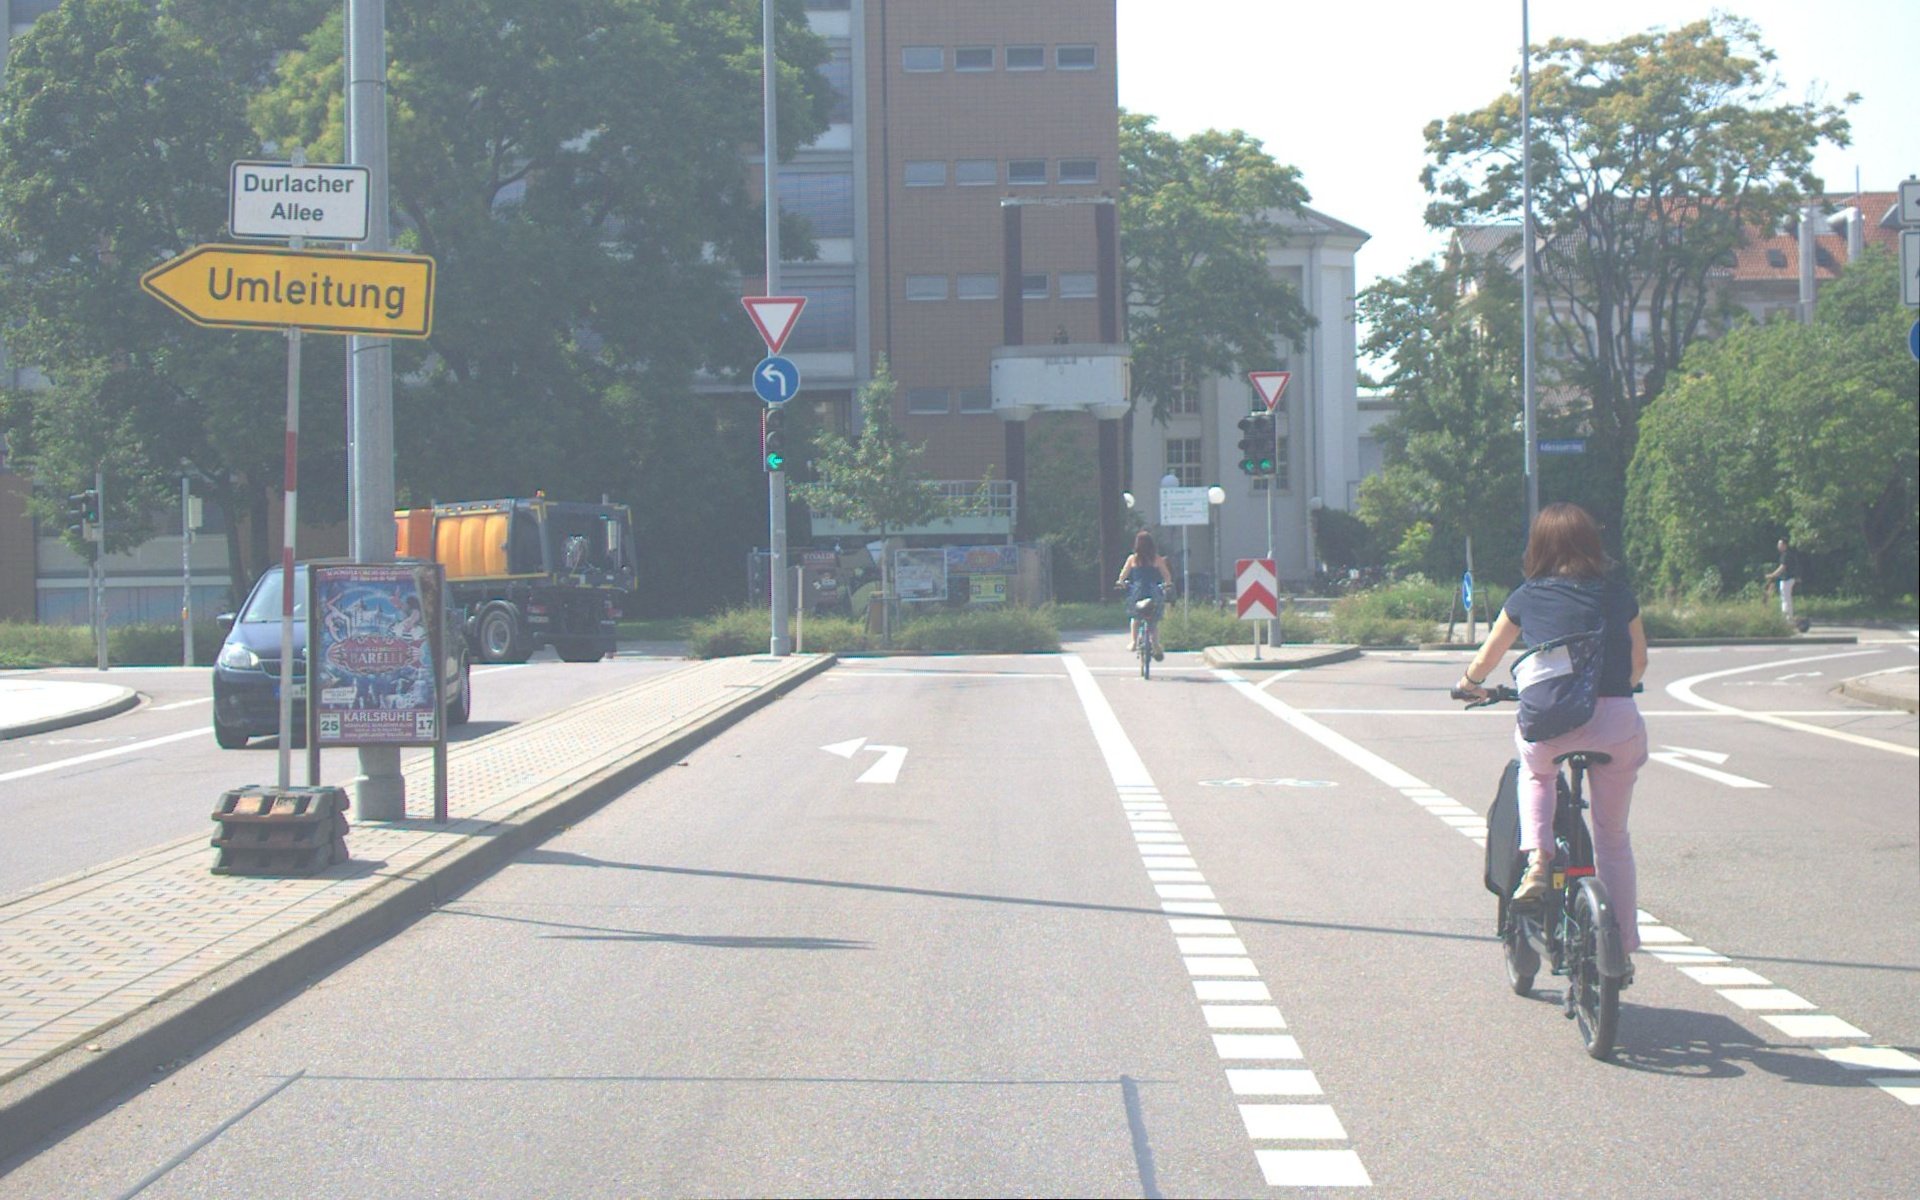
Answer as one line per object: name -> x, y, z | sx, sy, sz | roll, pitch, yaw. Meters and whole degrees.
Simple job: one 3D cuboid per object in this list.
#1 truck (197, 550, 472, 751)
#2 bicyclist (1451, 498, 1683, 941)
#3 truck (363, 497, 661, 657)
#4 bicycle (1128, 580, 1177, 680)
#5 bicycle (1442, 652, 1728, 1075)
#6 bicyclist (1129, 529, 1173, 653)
truck -> -5.015, 0.361, 27.956 | 1.555, 1.499, 3.621 | -1, 1, 0
bicyclist -> 1.879, 0.359, 10.707 | 0.602, 1.331, 0.660 | -1, 1, 2
truck -> -8.766, -0.427, 66.933 | 2.698, 2.979, 5.962 | 0, 0, -44
bicycle -> 2.202, 0.333, 39.431 | 0.444, 1.113, 1.446 | -1, 1, 0
bicycle -> 1.924, 0.773, 10.787 | 0.604, 1.159, 1.810 | -1, 1, 2
bicyclist -> 2.201, -0.108, 39.683 | 0.449, 1.416, 0.496 | -1, 1, 0
